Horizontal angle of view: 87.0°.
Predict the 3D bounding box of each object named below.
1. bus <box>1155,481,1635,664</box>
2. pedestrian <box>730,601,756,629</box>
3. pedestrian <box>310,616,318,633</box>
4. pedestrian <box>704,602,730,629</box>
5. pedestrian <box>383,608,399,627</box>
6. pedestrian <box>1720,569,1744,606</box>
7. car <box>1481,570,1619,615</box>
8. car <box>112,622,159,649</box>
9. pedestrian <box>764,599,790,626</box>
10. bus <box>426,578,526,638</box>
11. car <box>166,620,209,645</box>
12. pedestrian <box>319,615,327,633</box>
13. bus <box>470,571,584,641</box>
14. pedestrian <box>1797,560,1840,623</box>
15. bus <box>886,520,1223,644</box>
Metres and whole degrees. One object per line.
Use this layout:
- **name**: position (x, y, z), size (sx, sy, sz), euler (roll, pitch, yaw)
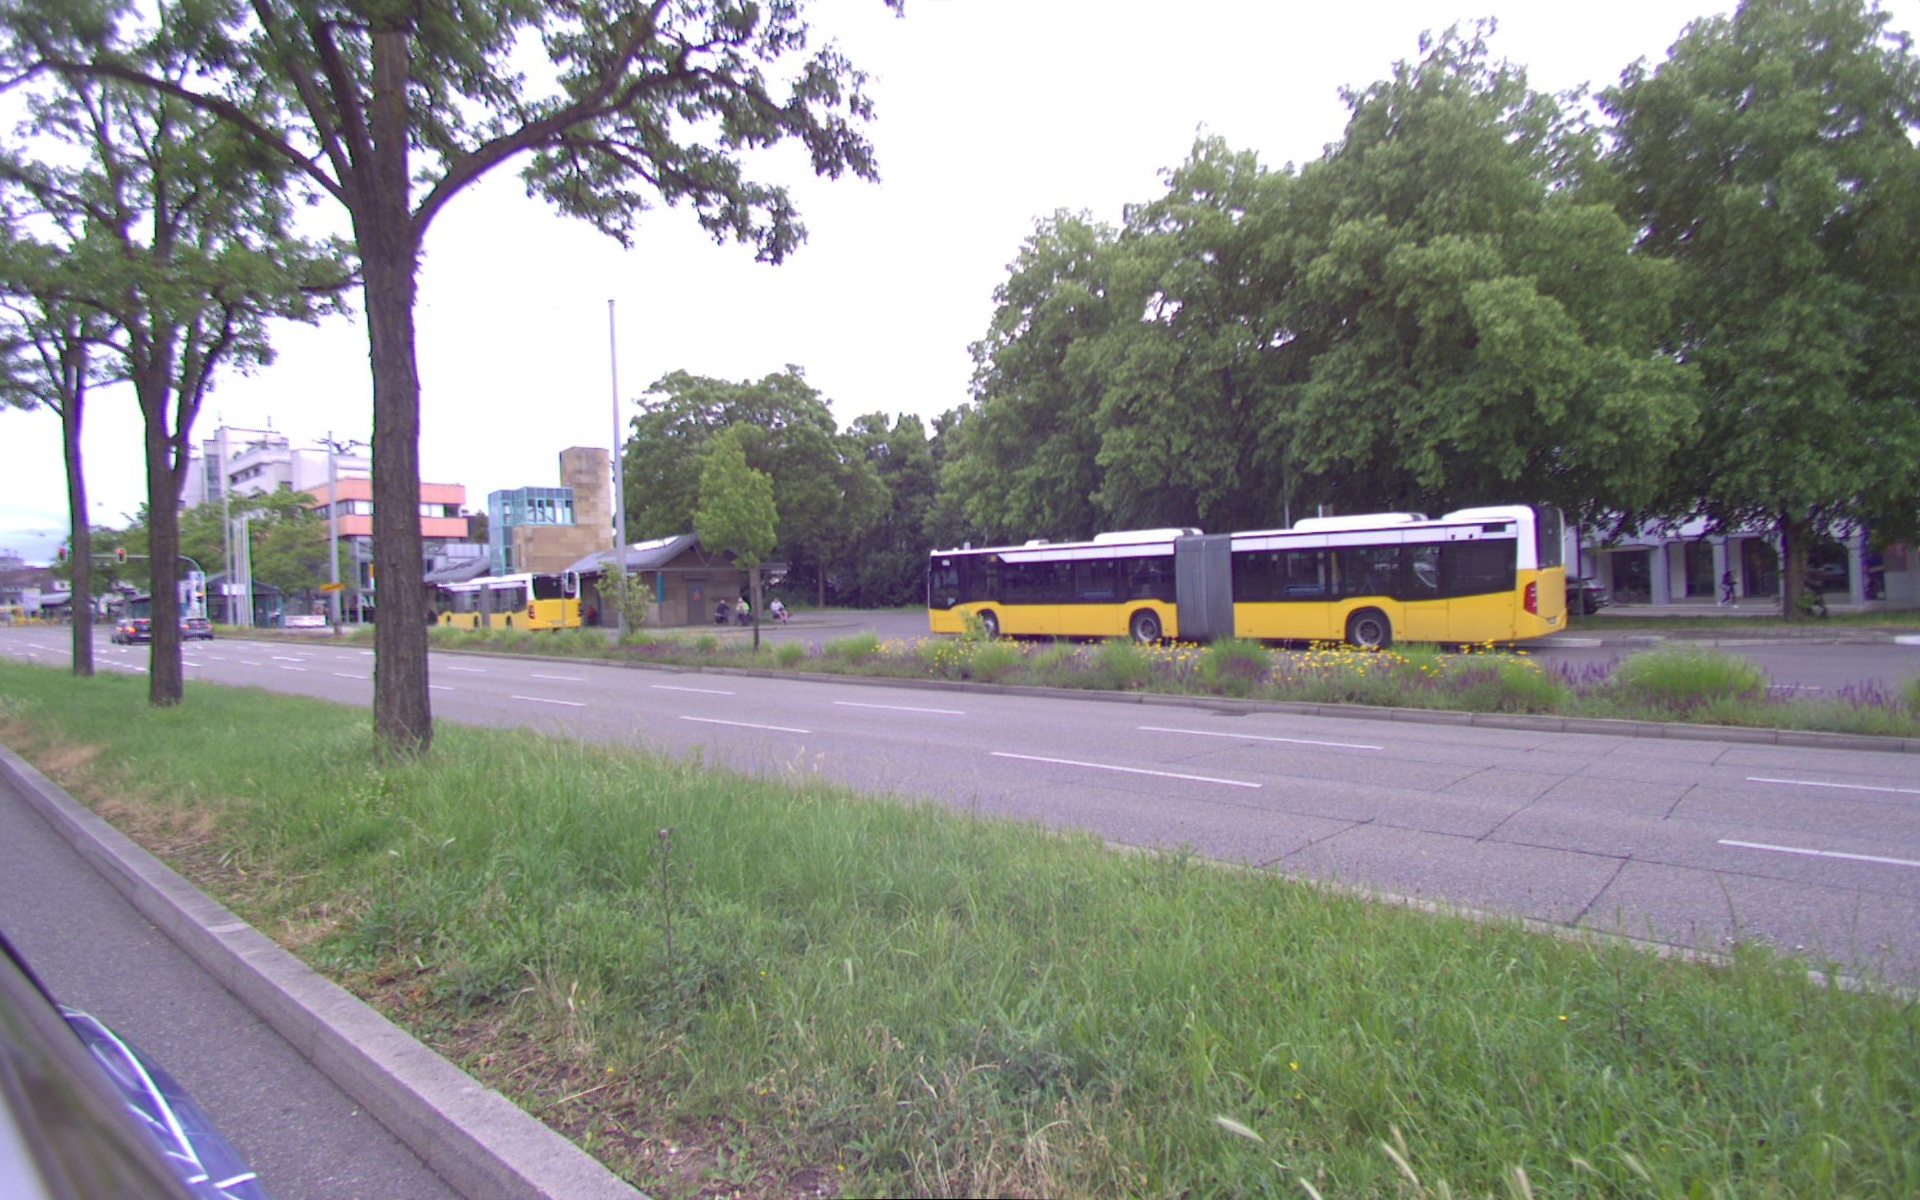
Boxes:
- **bus**: position (9.678, -0.492, 23.862), size (2.996, 3.481, 9.918), euler (-4, 1, -44)
- **pedestrian**: position (-10.151, 0.697, 47.379), size (0.888, 1.300, 0.853), euler (-2, 0, 18)
- **pedestrian**: position (-58.576, 2.219, 91.777), size (0.521, 1.559, 0.756), euler (-2, 0, -32)
- **pedestrian**: position (-11.734, 0.757, 48.836), size (0.887, 1.264, 0.854), euler (-2, 0, 14)
- **pedestrian**: position (-47.262, 1.441, 84.059), size (0.588, 1.472, 0.985), euler (-2, 0, 23)
- **pedestrian**: position (33.195, -0.540, 43.517), size (0.649, 1.559, 0.668), euler (-1, -1, -41)
- **car**: position (22.949, -0.279, 39.463), size (1.970, 1.593, 4.250), euler (-1, 0, -44)
- **car**: position (-48.815, 2.087, 59.882), size (3.768, 1.519, 1.641), euler (-1, 0, 42)
- **pedestrian**: position (-8.688, 0.579, 48.068), size (0.858, 1.264, 0.883), euler (-2, 0, 43)
- **bus**: position (-28.520, 0.516, 59.372), size (2.742, 3.155, 9.451), euler (-4, 1, -41)
- **car**: position (-50.840, 2.140, 66.577), size (1.794, 1.519, 4.004), euler (-1, 0, -43)
- **pedestrian**: position (-58.134, 2.176, 92.391), size (0.382, 1.559, 0.479), euler (-2, 0, 34)
- **bus**: position (-22.484, 0.346, 52.205), size (2.774, 3.155, 9.315), euler (-4, 2, -39)
- **pedestrian**: position (23.775, -0.228, 28.033), size (0.857, 1.701, 0.450), euler (-2, 0, 41)
- **bus**: position (2.442, -0.375, 30.991), size (3.048, 3.186, 10.743), euler (-1, 0, -45)
